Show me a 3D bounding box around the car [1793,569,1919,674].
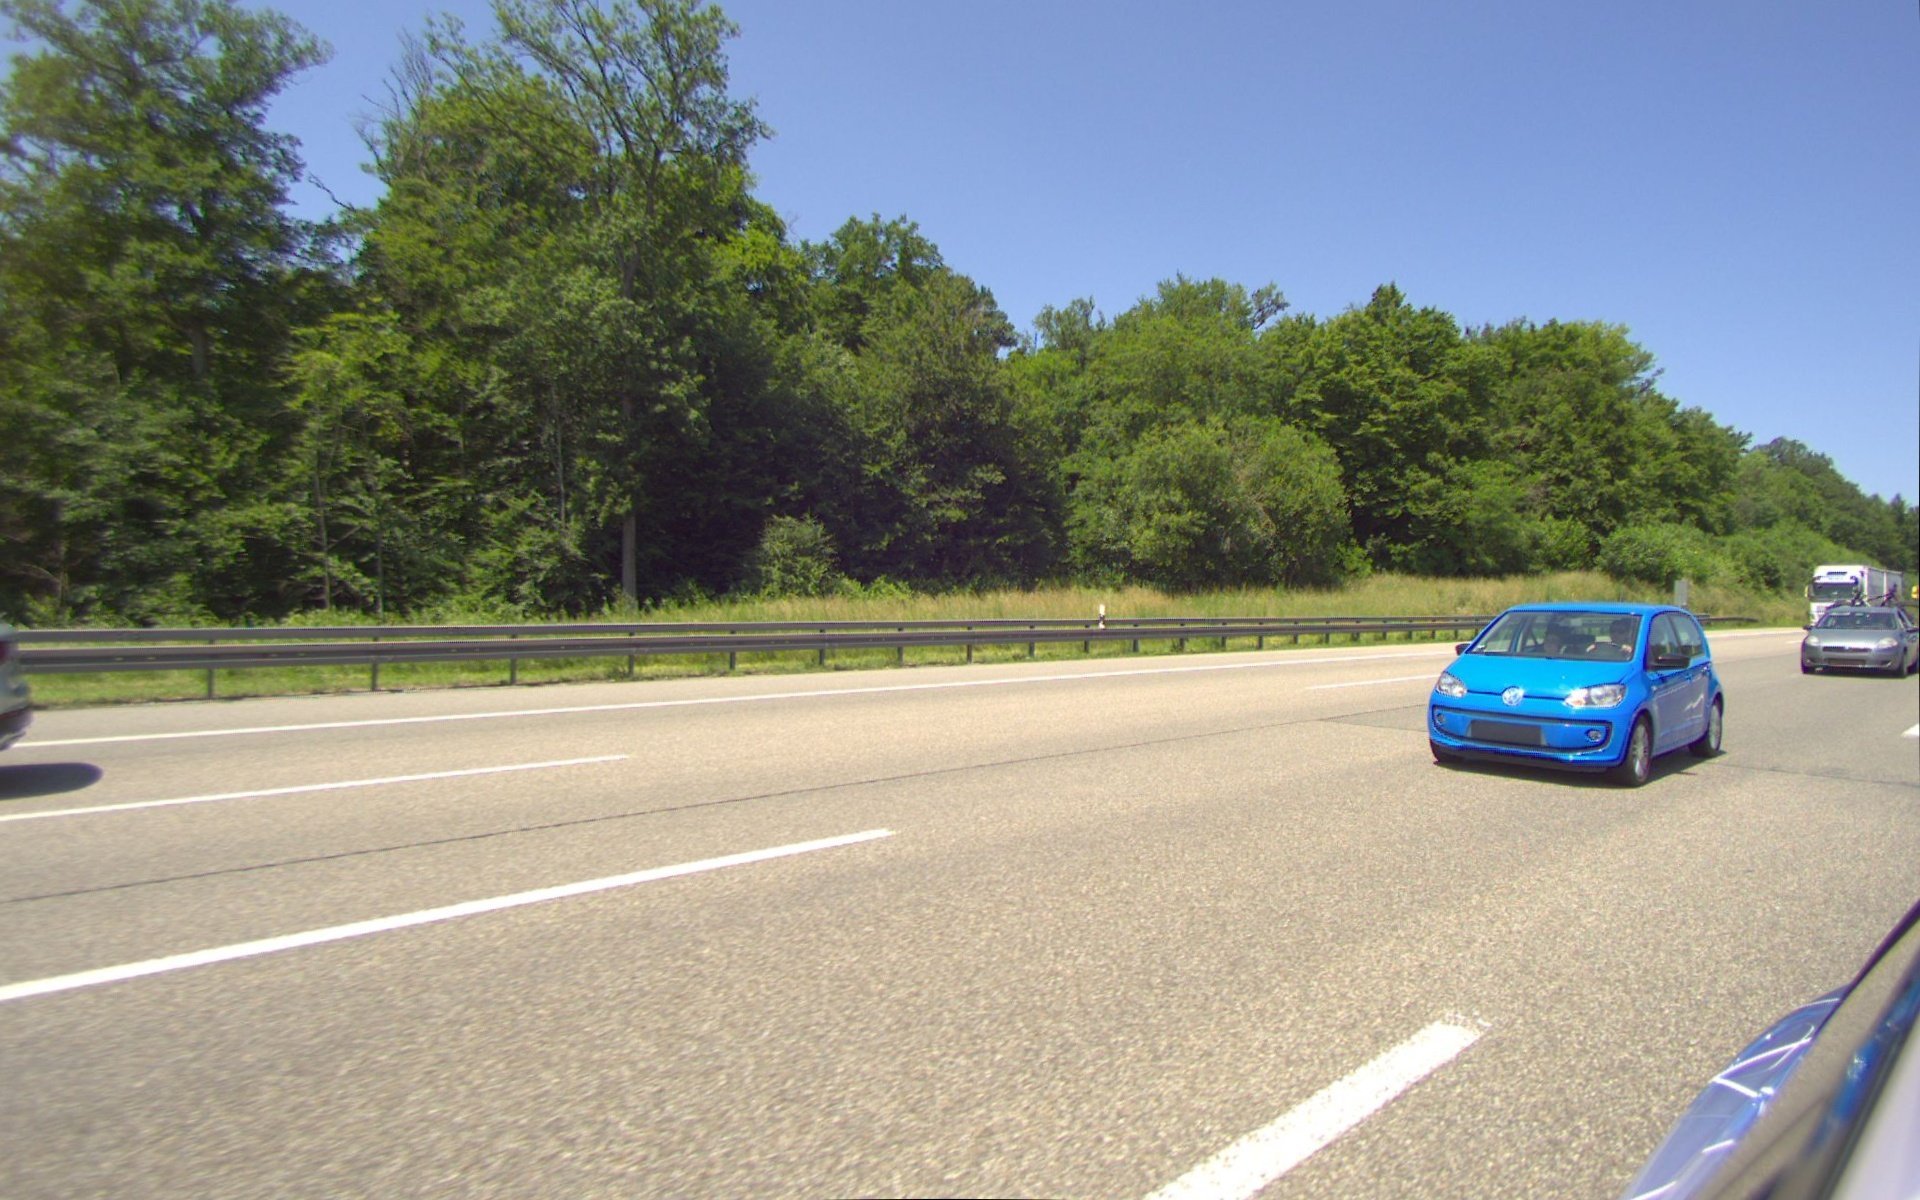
[{"bbox_3d":[20.065,0.434,22.219,4.699,2.079,1.965,1,0,-41],"label":"car"}]

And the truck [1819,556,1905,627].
[{"bbox_3d":[57.982,-0.417,64.928,10.774,4.214,2.727,2,-1,-41],"label":"truck"}]

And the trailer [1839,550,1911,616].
[{"bbox_3d":[61.853,-1.076,68.344,8.234,4.122,2.584,2,-1,-41],"label":"trailer"}]

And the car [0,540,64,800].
[{"bbox_3d":[-8.808,0.414,5.994,5.147,1.753,1.804,2,-1,-41],"label":"car"}]

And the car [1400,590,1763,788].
[{"bbox_3d":[5.894,0.668,9.417,3.929,1.429,1.741,1,1,-41],"label":"car"}]
